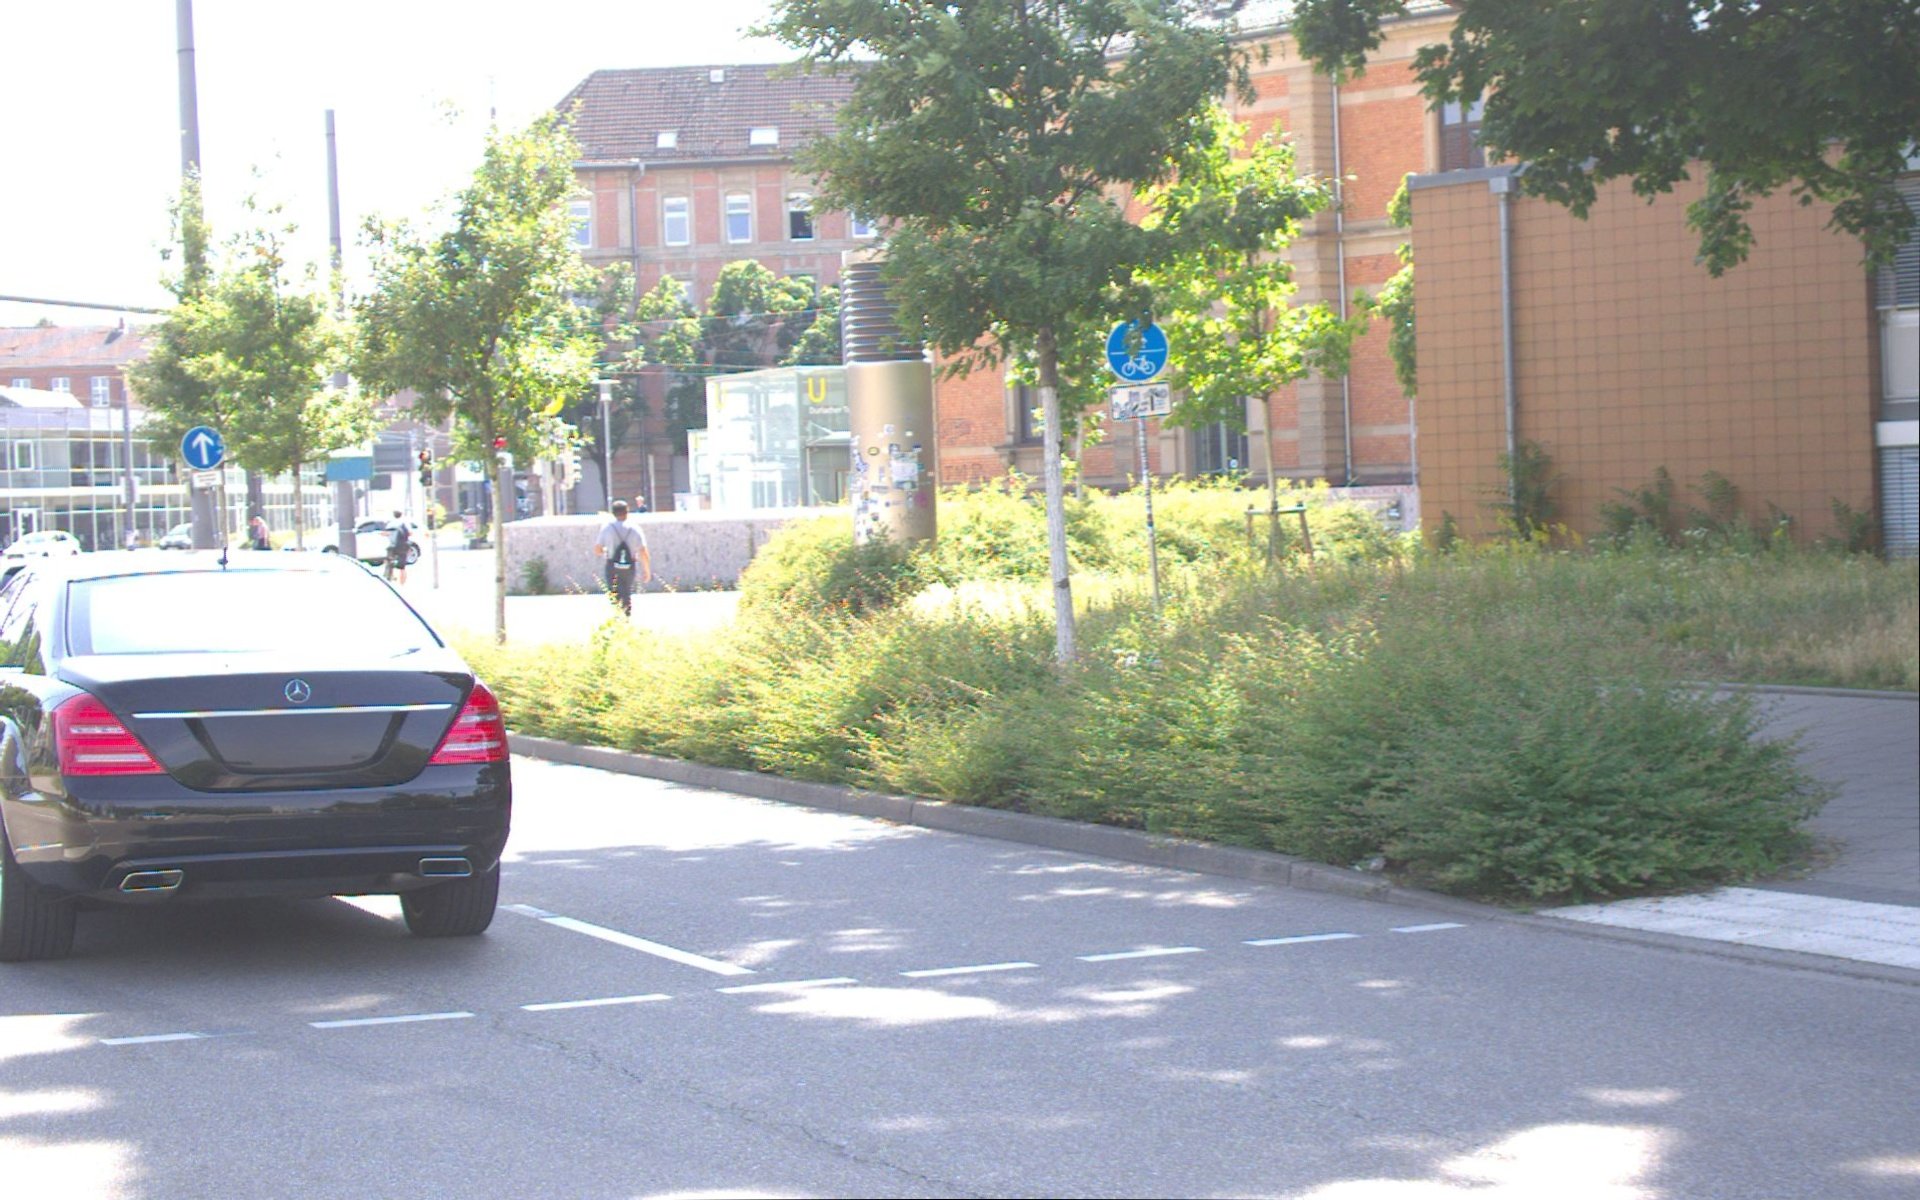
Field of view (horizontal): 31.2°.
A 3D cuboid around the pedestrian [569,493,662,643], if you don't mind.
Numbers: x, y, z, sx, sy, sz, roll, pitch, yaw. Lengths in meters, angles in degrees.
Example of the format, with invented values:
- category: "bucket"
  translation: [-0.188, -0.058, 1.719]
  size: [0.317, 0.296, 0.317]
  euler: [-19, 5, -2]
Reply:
- category: "pedestrian"
  translation: [-4.072, -0.384, 40.607]
  size: [0.870, 1.719, 0.800]
  euler: [-2, 2, -21]

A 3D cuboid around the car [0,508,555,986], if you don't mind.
- category: "car"
  translation: [-3.227, 0.487, 13.966]
  size: [1.858, 1.525, 4.714]
  euler: [-3, 1, -23]

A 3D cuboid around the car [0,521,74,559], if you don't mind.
- category: "car"
  translation: [-39.329, -2.552, 146.368]
  size: [1.794, 1.505, 3.999]
  euler: [-2, 2, 6]

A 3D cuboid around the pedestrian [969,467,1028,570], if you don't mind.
- category: "pedestrian"
  translation: [0.627, -1.336, 56.154]
  size: [0.648, 1.655, 0.650]
  euler: [-3, 2, -36]

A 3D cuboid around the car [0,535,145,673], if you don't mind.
- category: "car"
  translation: [-10.756, 0.016, 40.248]
  size: [1.794, 1.505, 4.001]
  euler: [-1, 1, -21]

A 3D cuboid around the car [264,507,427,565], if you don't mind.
- category: "car"
  translation: [-17.687, -1.841, 99.013]
  size: [4.265, 1.505, 1.799]
  euler: [-3, 2, -42]

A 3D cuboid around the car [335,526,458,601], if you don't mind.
- category: "car"
  translation: [-12.491, -0.835, 76.441]
  size: [1.794, 1.505, 4.277]
  euler: [-2, 2, 3]
